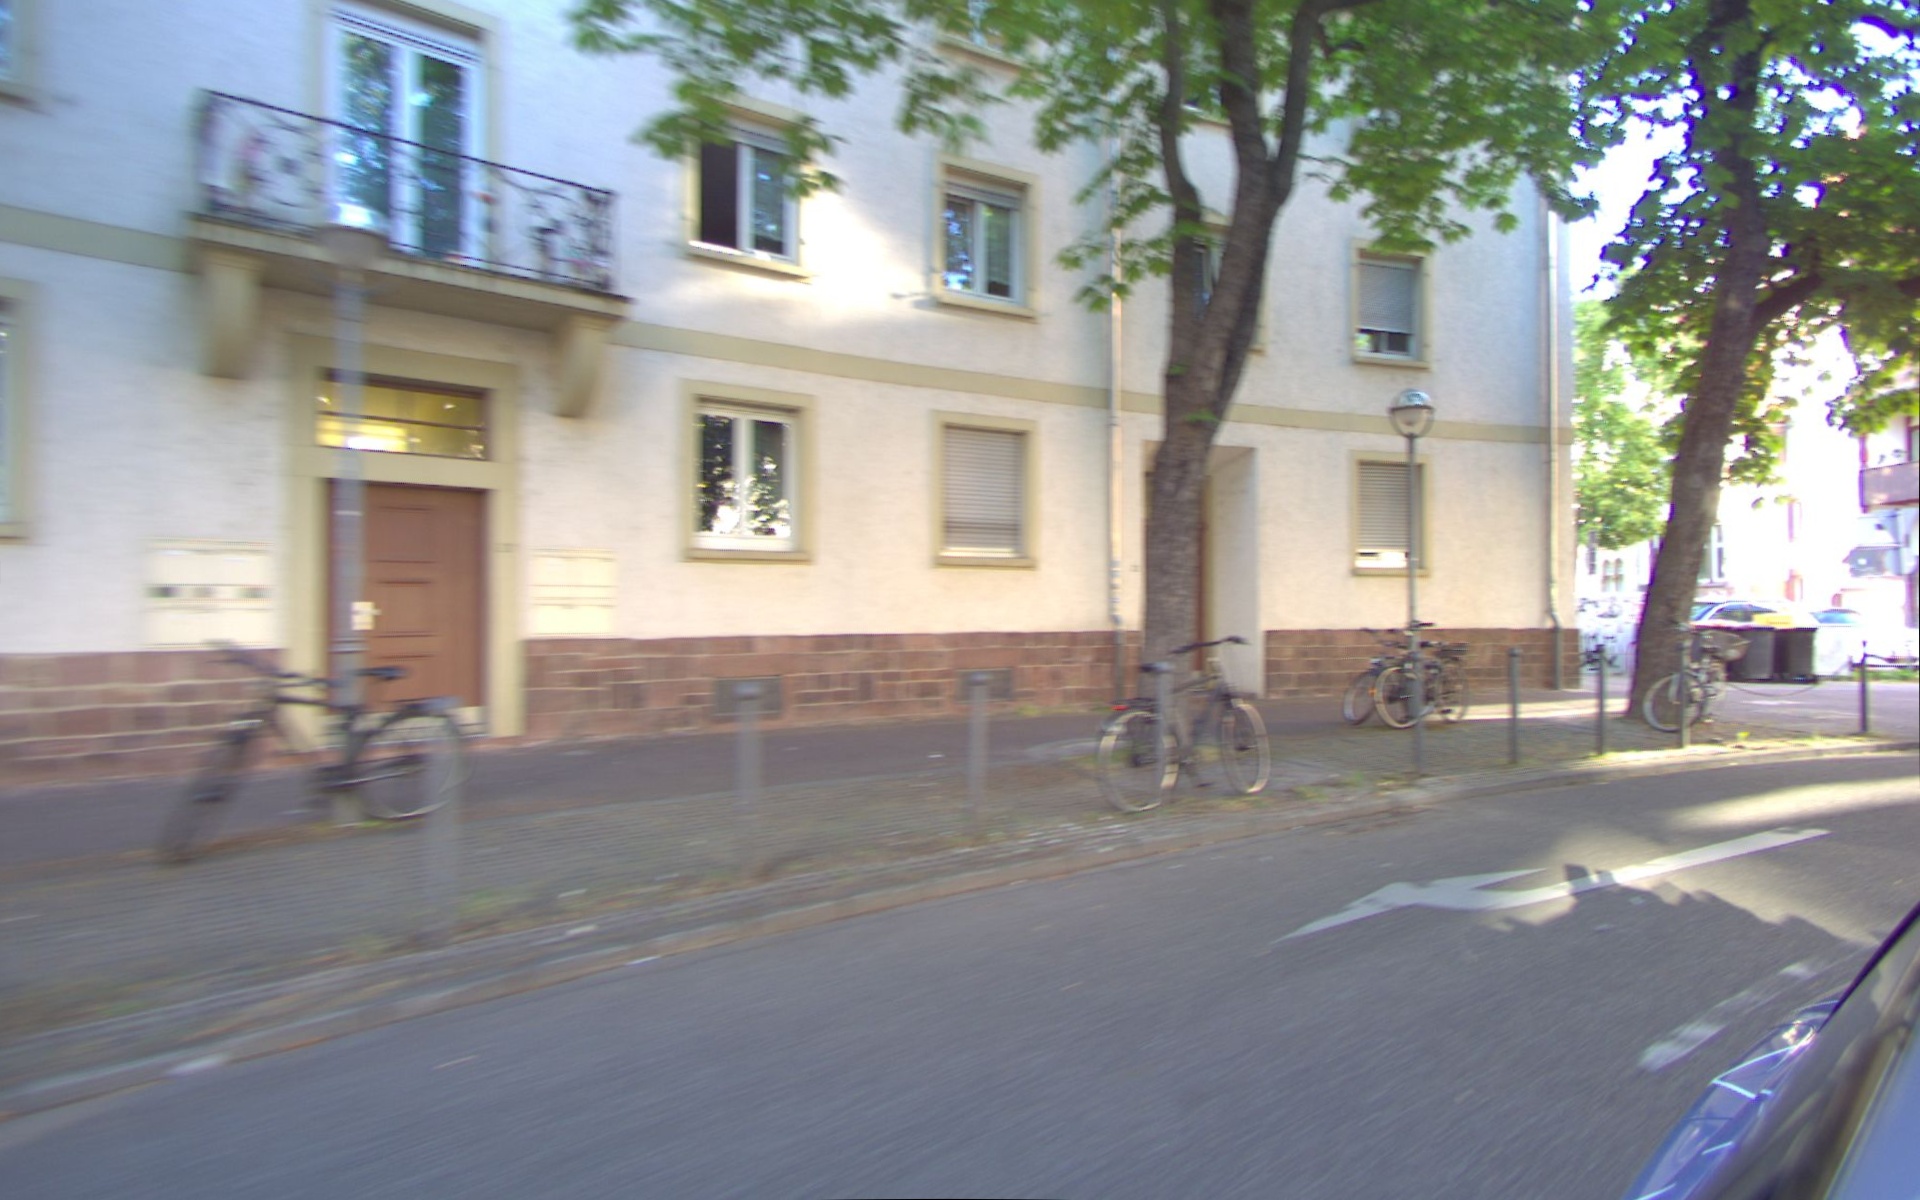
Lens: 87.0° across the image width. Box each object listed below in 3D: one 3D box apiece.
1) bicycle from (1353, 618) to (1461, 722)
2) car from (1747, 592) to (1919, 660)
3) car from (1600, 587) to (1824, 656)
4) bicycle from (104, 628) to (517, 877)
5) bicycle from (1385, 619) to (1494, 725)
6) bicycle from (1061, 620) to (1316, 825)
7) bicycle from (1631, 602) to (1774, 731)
[{"bbox_3d":[5.159,0.776,11.644,1.605,1.108,0.334,0,-1,-35],"label":"bicycle"},{"bbox_3d":[22.290,0.623,25.488,1.773,1.572,4.181,0,-1,3],"label":"car"},{"bbox_3d":[16.880,0.476,22.850,3.733,1.443,1.675,-1,-1,1],"label":"car"},{"bbox_3d":[-3.593,0.750,5.784,0.796,1.133,1.837,-1,-1,31],"label":"bicycle"},{"bbox_3d":[5.407,0.778,11.374,1.605,1.108,0.334,0,-1,-35],"label":"bicycle"},{"bbox_3d":[1.645,0.775,7.140,1.879,1.238,0.719,0,-1,-37],"label":"bicycle"},{"bbox_3d":[8.280,0.685,11.266,1.867,1.321,0.767,0,-1,-37],"label":"bicycle"}]
